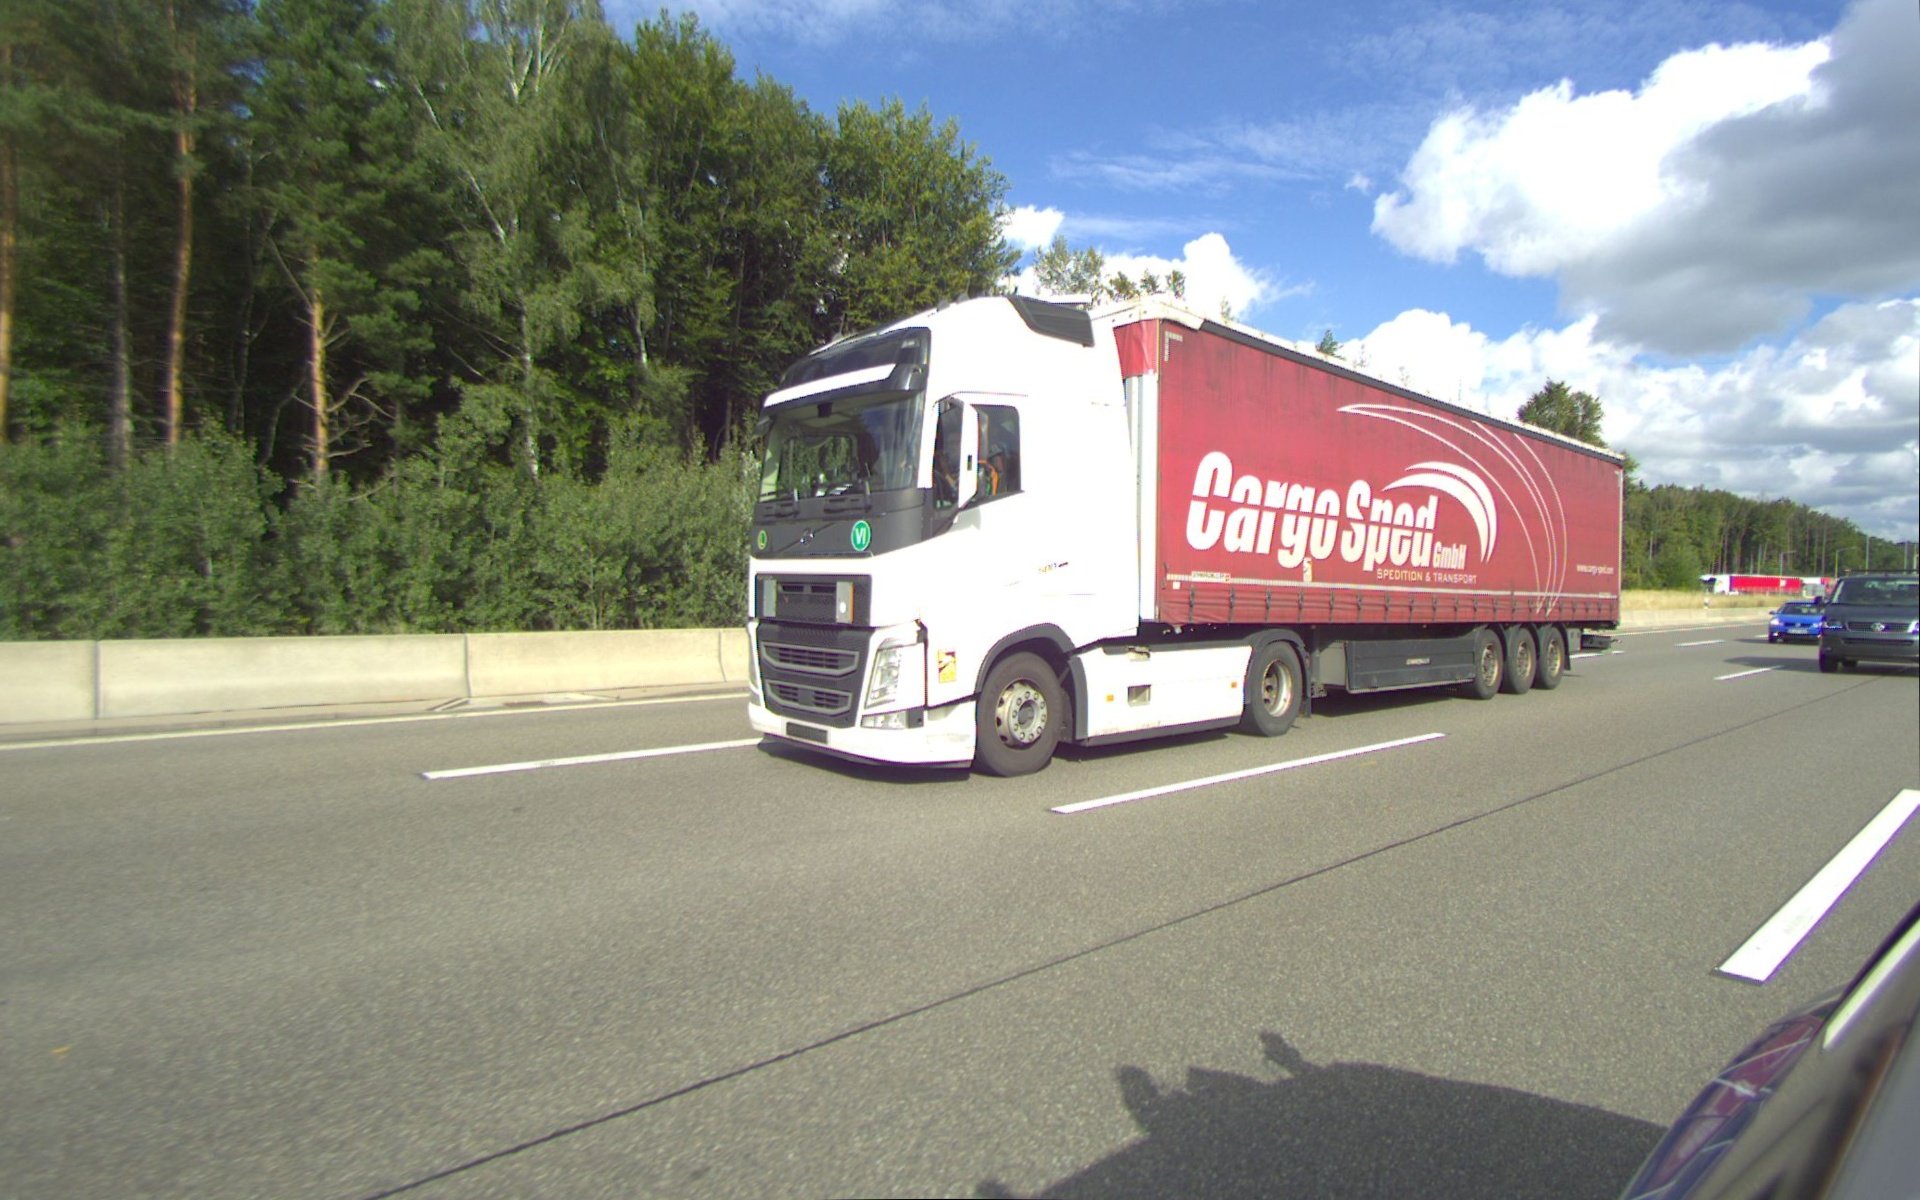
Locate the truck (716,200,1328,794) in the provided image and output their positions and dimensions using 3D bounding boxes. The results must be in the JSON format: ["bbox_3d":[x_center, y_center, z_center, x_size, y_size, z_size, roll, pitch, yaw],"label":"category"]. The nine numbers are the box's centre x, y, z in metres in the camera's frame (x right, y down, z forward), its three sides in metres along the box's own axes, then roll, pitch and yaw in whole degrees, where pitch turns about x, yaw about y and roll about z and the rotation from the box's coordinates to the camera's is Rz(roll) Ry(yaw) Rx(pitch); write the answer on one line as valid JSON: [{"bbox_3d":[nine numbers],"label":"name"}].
[{"bbox_3d":[0.854,-0.735,9.910,5.673,4.096,2.779,0,0,-41],"label":"truck"}]

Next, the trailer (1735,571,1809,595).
[{"bbox_3d":[152.314,-3.169,189.917,11.179,4.429,2.843,1,0,4],"label":"trailer"}]

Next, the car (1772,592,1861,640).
[{"bbox_3d":[28.233,0.489,33.313,3.930,1.460,1.653,0,1,-41],"label":"car"}]

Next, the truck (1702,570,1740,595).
[{"bbox_3d":[145.972,-3.389,194.200,5.029,4.564,2.895,1,1,3],"label":"truck"}]

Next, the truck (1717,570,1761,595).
[{"bbox_3d":[146.443,-3.296,190.320,5.987,4.563,2.878,1,0,4],"label":"truck"}]

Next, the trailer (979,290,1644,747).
[{"bbox_3d":[6.183,-0.764,14.591,13.475,4.096,2.778,0,1,-41],"label":"trailer"}]

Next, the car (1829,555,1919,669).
[{"bbox_3d":[19.505,0.215,20.725,4.845,2.136,1.852,0,0,-40],"label":"car"}]

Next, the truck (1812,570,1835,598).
[{"bbox_3d":[147.316,-2.716,172.737,2.869,4.562,7.072,2,2,40],"label":"truck"}]
